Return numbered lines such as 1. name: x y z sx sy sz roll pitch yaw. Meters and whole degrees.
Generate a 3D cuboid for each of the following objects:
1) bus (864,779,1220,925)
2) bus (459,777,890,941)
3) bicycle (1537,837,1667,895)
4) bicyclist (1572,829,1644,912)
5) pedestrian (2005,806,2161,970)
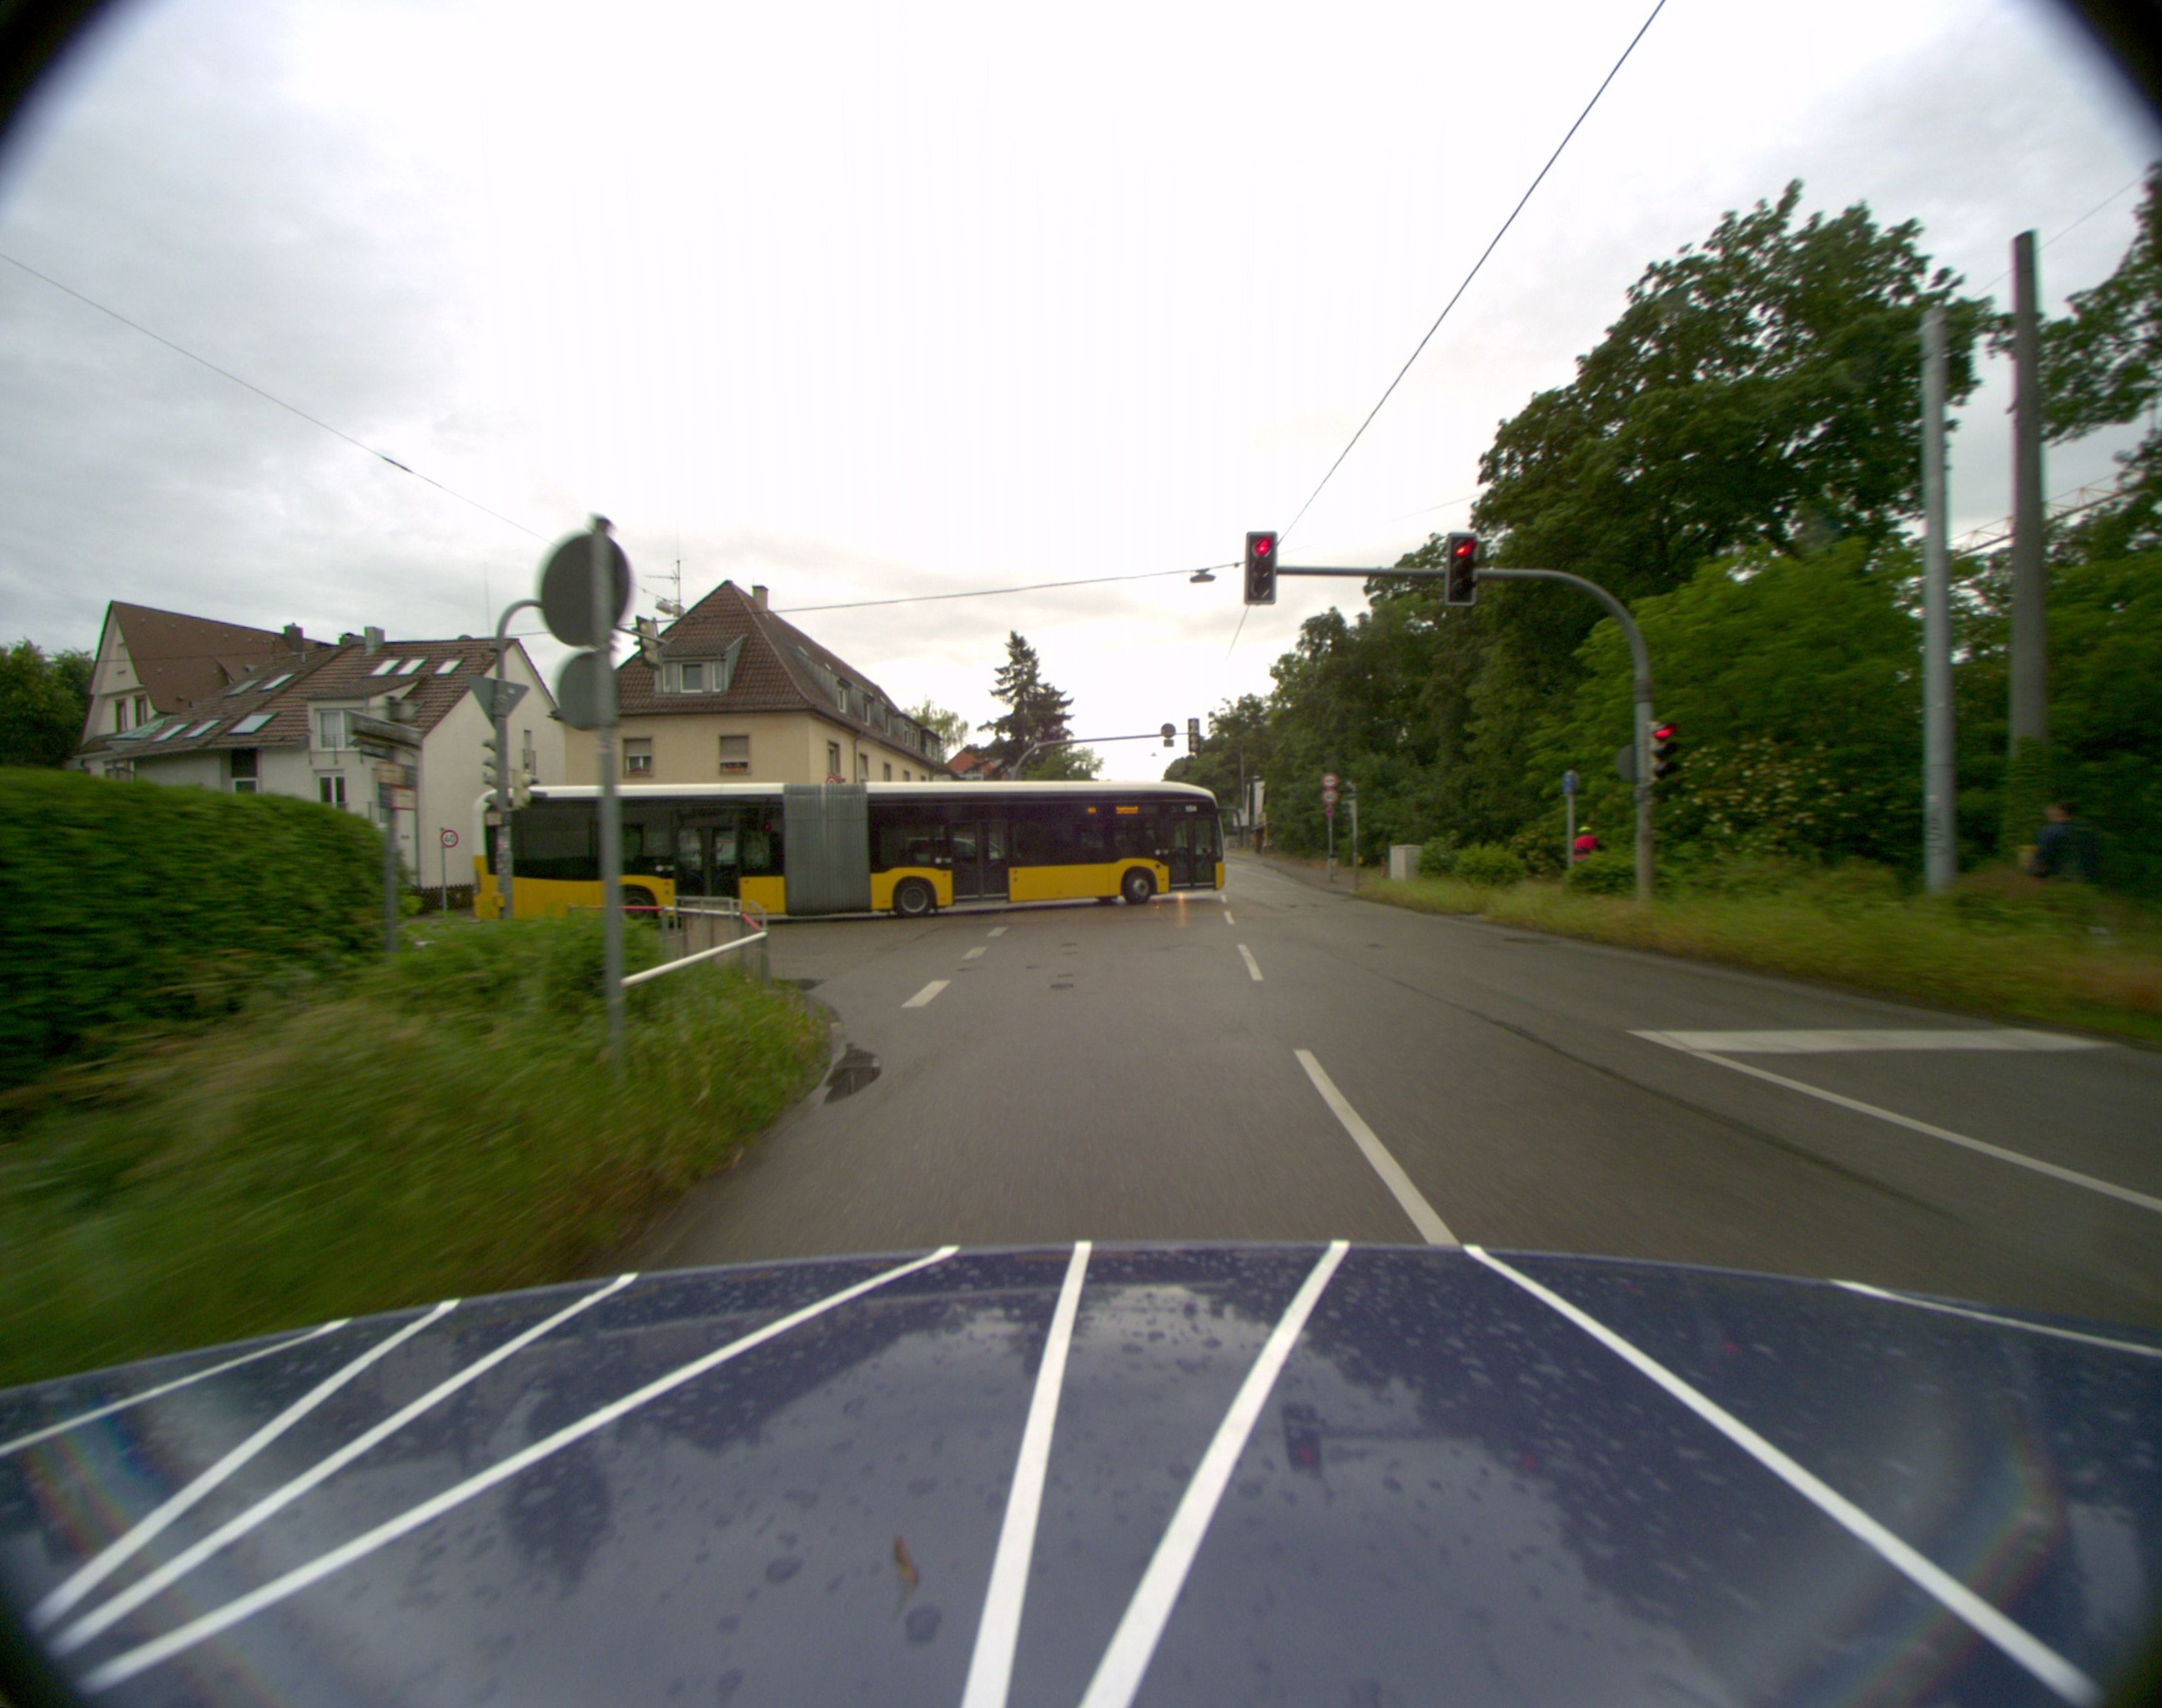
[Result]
1. bus: -1.027 -0.172 20.508 9.048 3.378 2.904 -2 0 -19
2. bus: -9.297 0.078 18.355 8.678 3.378 2.684 -2 0 -6
3. bicycle: 10.586 0.236 15.499 2.151 1.090 0.580 -2 2 7
4. bicyclist: 10.720 0.326 15.485 1.047 1.643 0.580 -2 2 7
5. pedestrian: 11.473 0.373 8.726 0.778 1.789 0.763 -1 2 3
